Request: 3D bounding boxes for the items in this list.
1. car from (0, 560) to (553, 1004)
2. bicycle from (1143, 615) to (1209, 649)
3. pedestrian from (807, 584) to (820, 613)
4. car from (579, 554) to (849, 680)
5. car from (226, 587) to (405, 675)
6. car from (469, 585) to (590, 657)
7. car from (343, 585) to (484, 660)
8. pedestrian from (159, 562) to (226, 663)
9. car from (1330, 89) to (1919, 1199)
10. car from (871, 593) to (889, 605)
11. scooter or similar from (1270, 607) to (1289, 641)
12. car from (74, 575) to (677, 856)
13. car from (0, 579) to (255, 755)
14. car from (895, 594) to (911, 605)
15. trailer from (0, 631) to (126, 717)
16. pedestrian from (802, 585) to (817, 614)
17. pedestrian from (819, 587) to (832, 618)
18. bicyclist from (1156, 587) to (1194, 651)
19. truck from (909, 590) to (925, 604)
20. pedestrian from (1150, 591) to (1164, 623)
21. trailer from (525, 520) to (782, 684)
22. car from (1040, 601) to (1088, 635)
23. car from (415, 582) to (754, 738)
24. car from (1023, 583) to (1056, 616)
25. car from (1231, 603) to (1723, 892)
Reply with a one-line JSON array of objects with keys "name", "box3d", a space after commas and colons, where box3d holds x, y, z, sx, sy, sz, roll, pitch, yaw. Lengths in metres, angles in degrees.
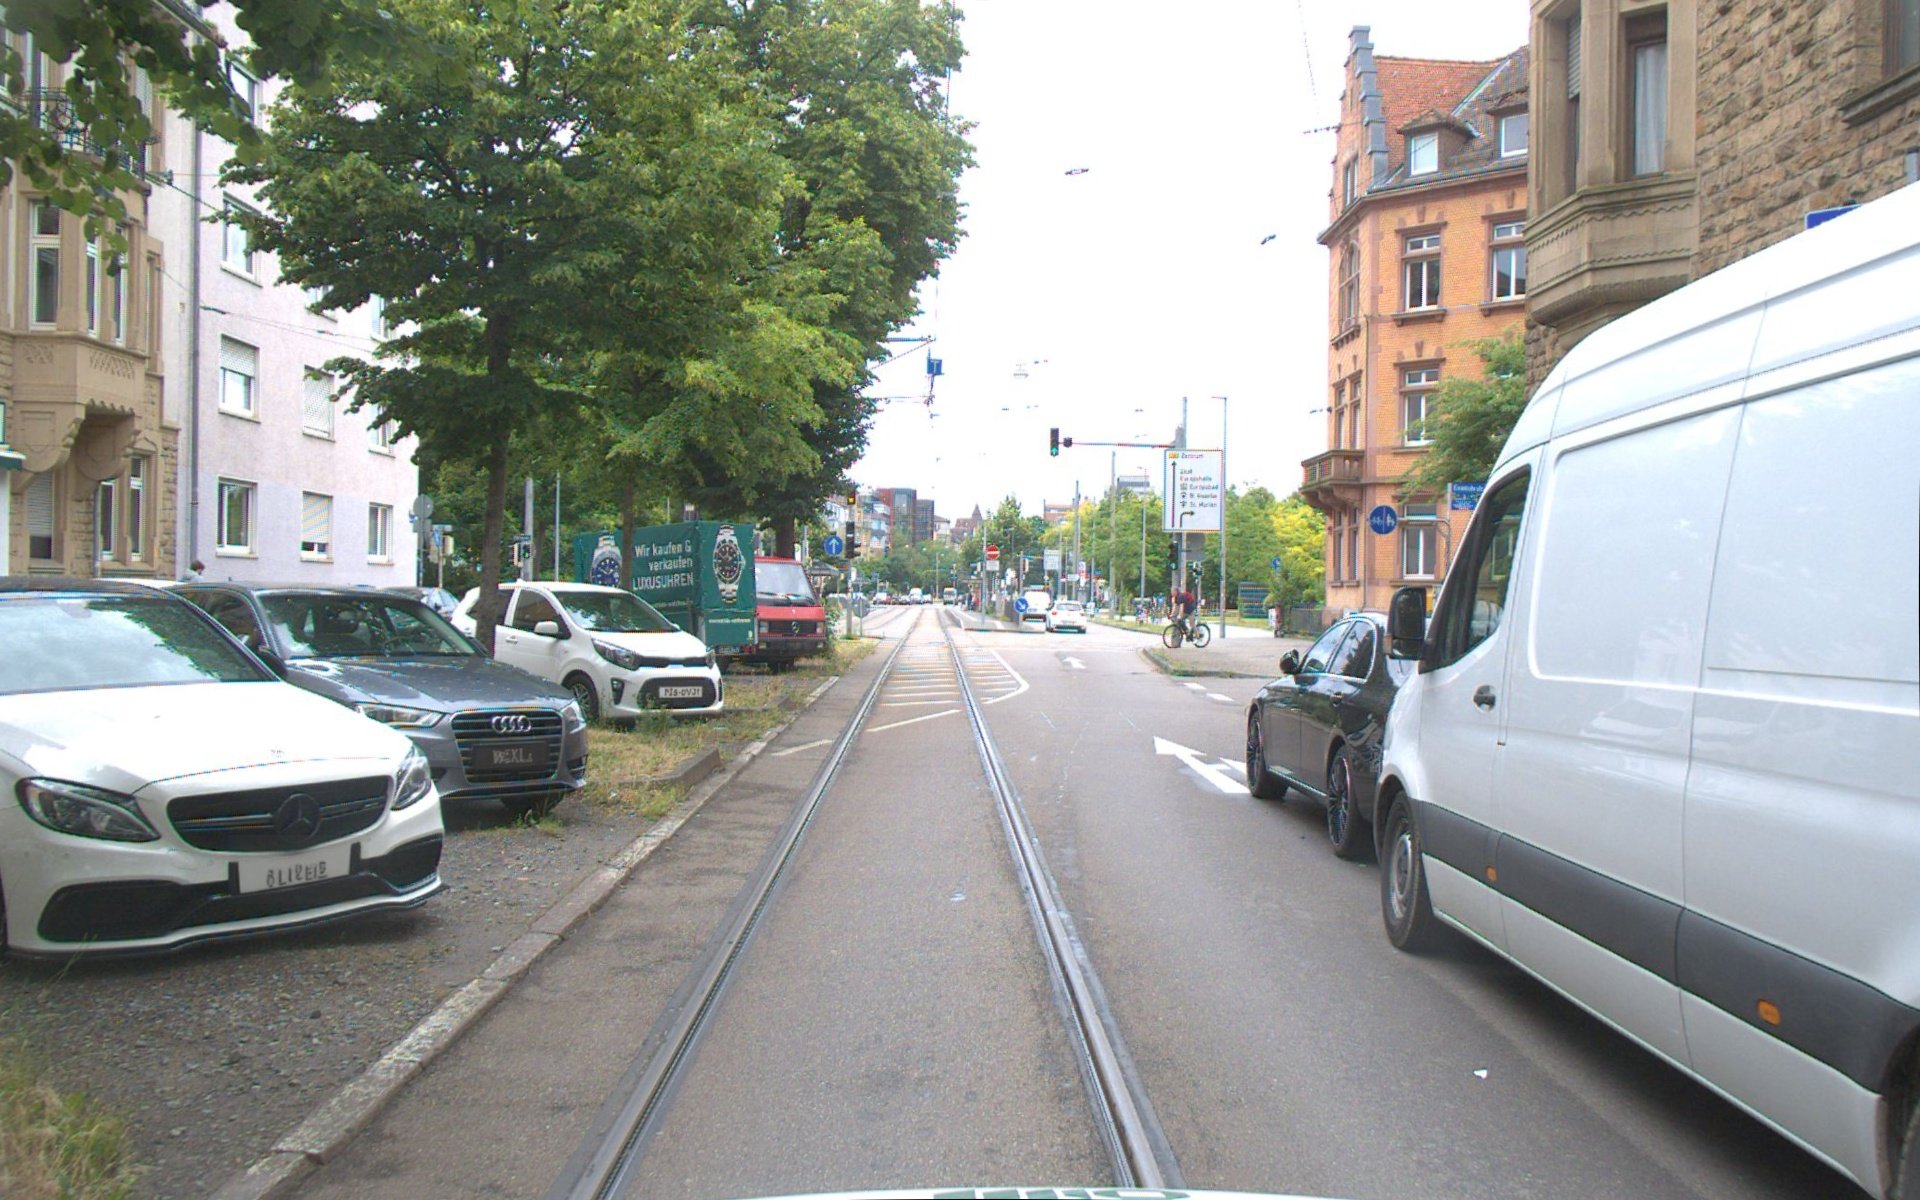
[{"name": "car", "box3d": [-4.084, 0.572, 7.624, 4.599, 1.460, 1.890, 1, 0, 39]}, {"name": "bicycle", "box3d": [6.282, 0.933, 48.023, 1.845, 0.940, 0.787, 1, 0, -34]}, {"name": "pedestrian", "box3d": [-8.686, -0.093, 97.897, 0.753, 1.689, 1.024, 0, 0, -4]}, {"name": "car", "box3d": [-4.325, 0.253, 28.728, 4.675, 2.009, 1.951, 1, 0, 38]}, {"name": "car", "box3d": [-11.614, 0.515, 30.123, 1.602, 1.468, 4.568, 1, 0, -2]}, {"name": "car", "box3d": [-8.993, 0.429, 34.864, 1.611, 1.407, 3.882, 1, 0, -2]}, {"name": "car", "box3d": [-11.669, 0.450, 35.610, 1.602, 1.468, 4.760, 1, 0, -2]}, {"name": "pedestrian", "box3d": [-13.968, 0.221, 30.120, 0.781, 1.797, 0.900, 0, 0, -2]}, {"name": "car", "box3d": [2.925, 0.274, 4.934, 1.972, 2.593, 7.016, 2, 0, 0]}, {"name": "car", "box3d": [-10.335, -0.115, 213.451, 1.733, 1.519, 3.889, 1, 0, 5]}, {"name": "scooter or similar", "box3d": [11.262, 0.844, 58.374, 0.368, 1.161, 1.198, 0, 0, -3]}, {"name": "car", "box3d": [-3.941, 0.587, 10.801, 4.262, 1.460, 1.888, 1, 0, 41]}, {"name": "car", "box3d": [-8.599, 0.591, 16.421, 1.611, 1.530, 3.882, 1, 0, -2]}, {"name": "car", "box3d": [-8.197, -0.022, 237.412, 1.733, 1.519, 3.889, 1, 0, 5]}, {"name": "trailer", "box3d": [-11.660, 0.874, 20.246, 1.425, 0.908, 3.075, -1, 0, -3]}, {"name": "pedestrian", "box3d": [-8.625, -0.050, 94.792, 0.663, 1.652, 0.634, 0, 0, 17]}, {"name": "pedestrian", "box3d": [-7.696, 0.137, 94.367, 0.687, 1.745, 0.697, 0, 0, -9]}, {"name": "bicyclist", "box3d": [6.257, 0.550, 48.080, 0.673, 1.826, 0.881, 1, 0, -32]}, {"name": "truck", "box3d": [-6.537, -0.484, 250.714, 1.750, 2.068, 5.399, 1, 0, 5]}, {"name": "pedestrian", "box3d": [11.892, 0.429, 99.804, 0.724, 1.902, 0.682, 0, 0, -1]}, {"name": "trailer", "box3d": [-4.806, 0.013, 25.859, 3.593, 2.385, 1.926, 1, 0, 32]}, {"name": "car", "box3d": [4.752, 0.807, 75.900, 1.747, 1.498, 4.008, 1, 0, -2]}, {"name": "car", "box3d": [-4.115, 0.573, 17.864, 3.794, 1.488, 1.680, 1, 0, 41]}, {"name": "car", "box3d": [4.986, -0.064, 104.107, 1.746, 1.997, 4.381, 1, 0, -2]}, {"name": "car", "box3d": [3.173, 0.792, 11.340, 1.786, 1.475, 5.006, 2, 0, 0]}]
